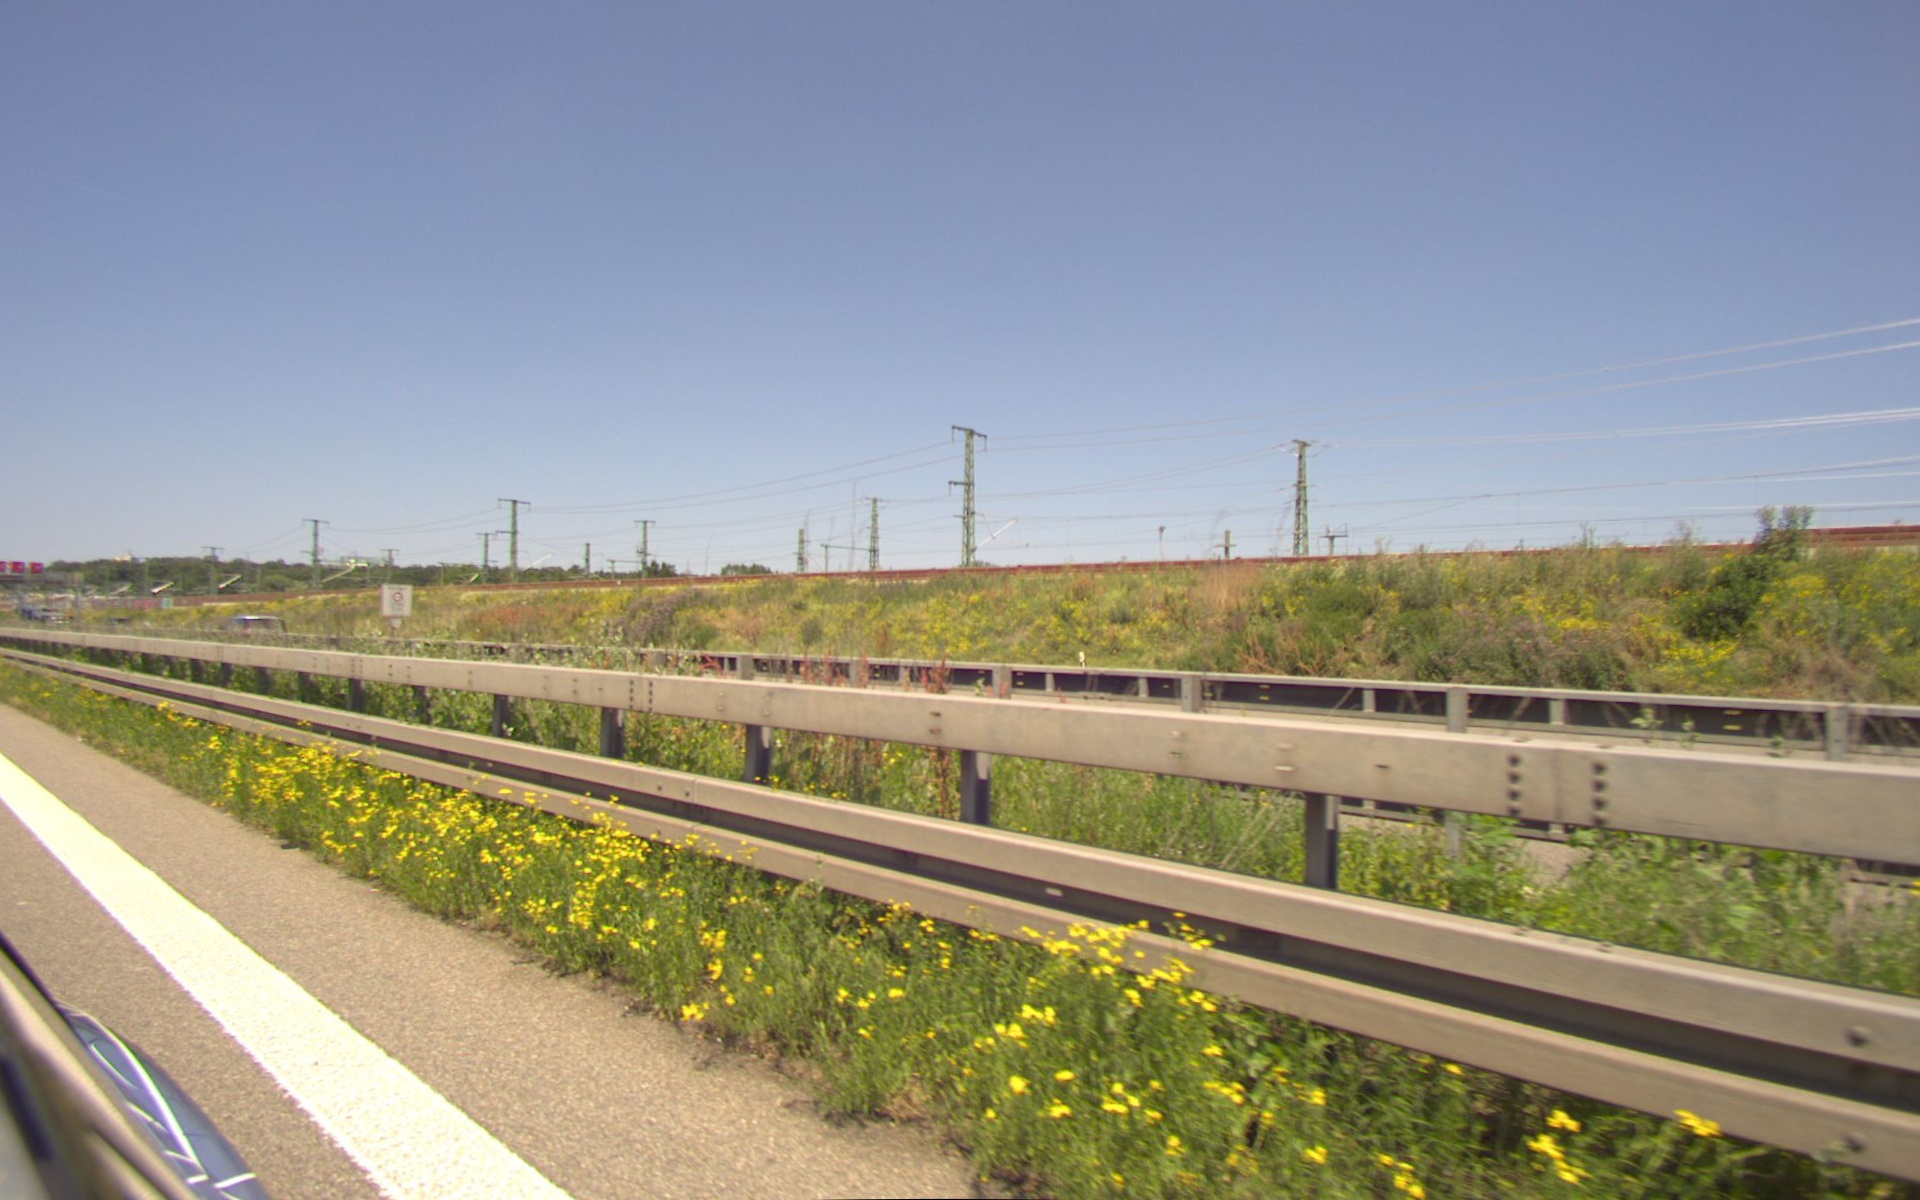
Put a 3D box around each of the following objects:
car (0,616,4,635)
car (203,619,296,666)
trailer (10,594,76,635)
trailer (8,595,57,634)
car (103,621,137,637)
[{"bbox_3d":[-103.309,2.694,107.481,5.429,2.029,1.973,-1,-1,41],"label":"car"},{"bbox_3d":[-28.282,1.639,40.251,4.554,1.748,1.973,-1,-1,41],"label":"car"},{"bbox_3d":[-92.988,1.468,102.476,15.969,3.897,3.019,-1,-2,41],"label":"trailer"},{"bbox_3d":[-97.631,1.545,106.516,7.199,3.897,3.019,-1,-2,41],"label":"trailer"},{"bbox_3d":[-82.318,2.787,99.142,4.236,1.526,1.897,-1,-2,41],"label":"car"}]
